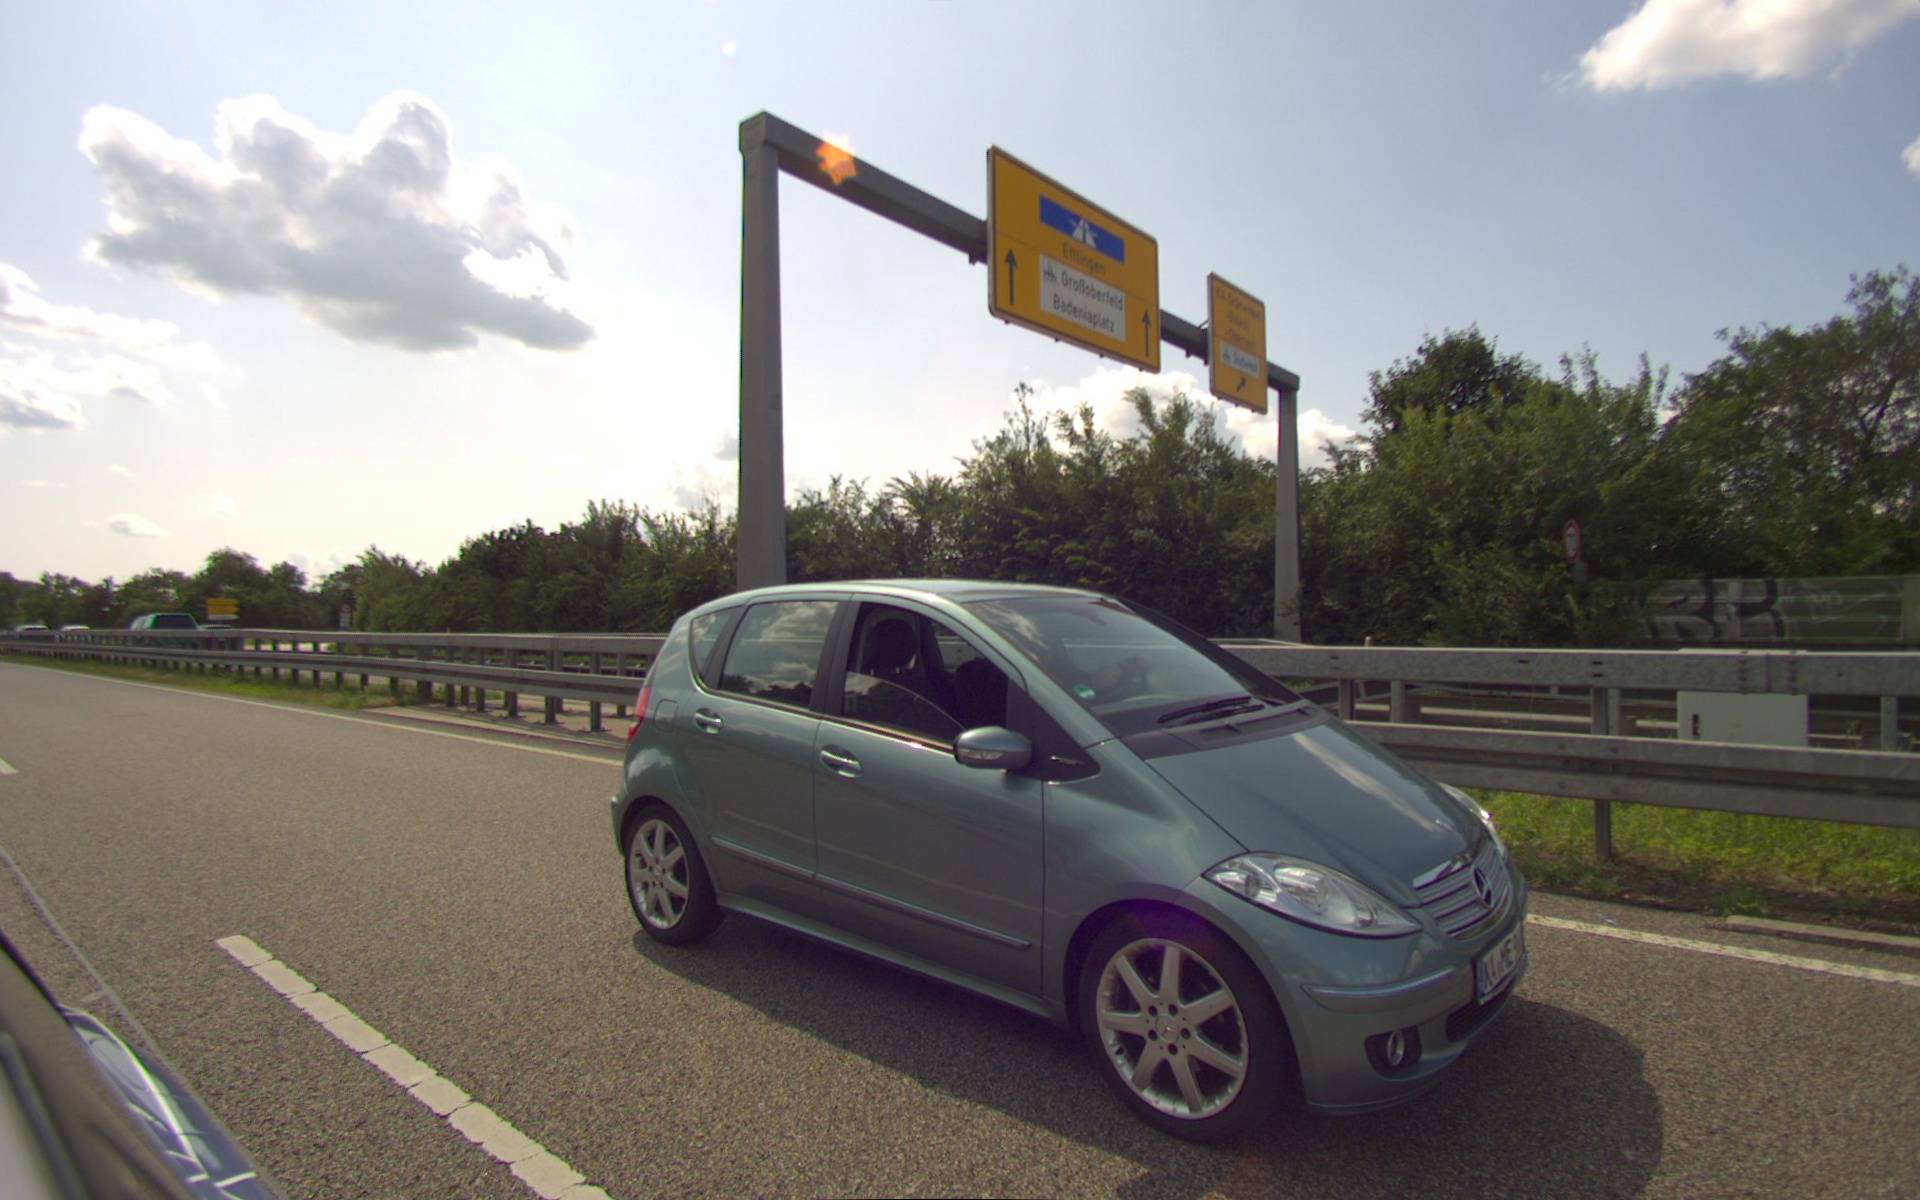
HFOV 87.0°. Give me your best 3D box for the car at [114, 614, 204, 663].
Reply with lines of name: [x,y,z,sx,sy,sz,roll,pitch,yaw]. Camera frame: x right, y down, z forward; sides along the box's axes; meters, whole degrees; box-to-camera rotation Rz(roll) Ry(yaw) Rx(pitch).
car: [-33.995,1.592,42.901,5.389,1.877,1.973,-1,1,41]

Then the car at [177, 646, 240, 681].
car: [-39.912,3.317,53.693,4.553,1.586,1.684,-1,1,41]

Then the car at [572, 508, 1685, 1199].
car: [0.292,0.616,3.975,3.998,1.543,1.729,-1,0,41]

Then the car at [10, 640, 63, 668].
car: [-59.308,3.443,64.962,4.130,1.609,1.973,-1,1,41]

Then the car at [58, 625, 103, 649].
car: [-66.958,2.775,77.032,4.548,1.658,1.941,-1,1,41]
